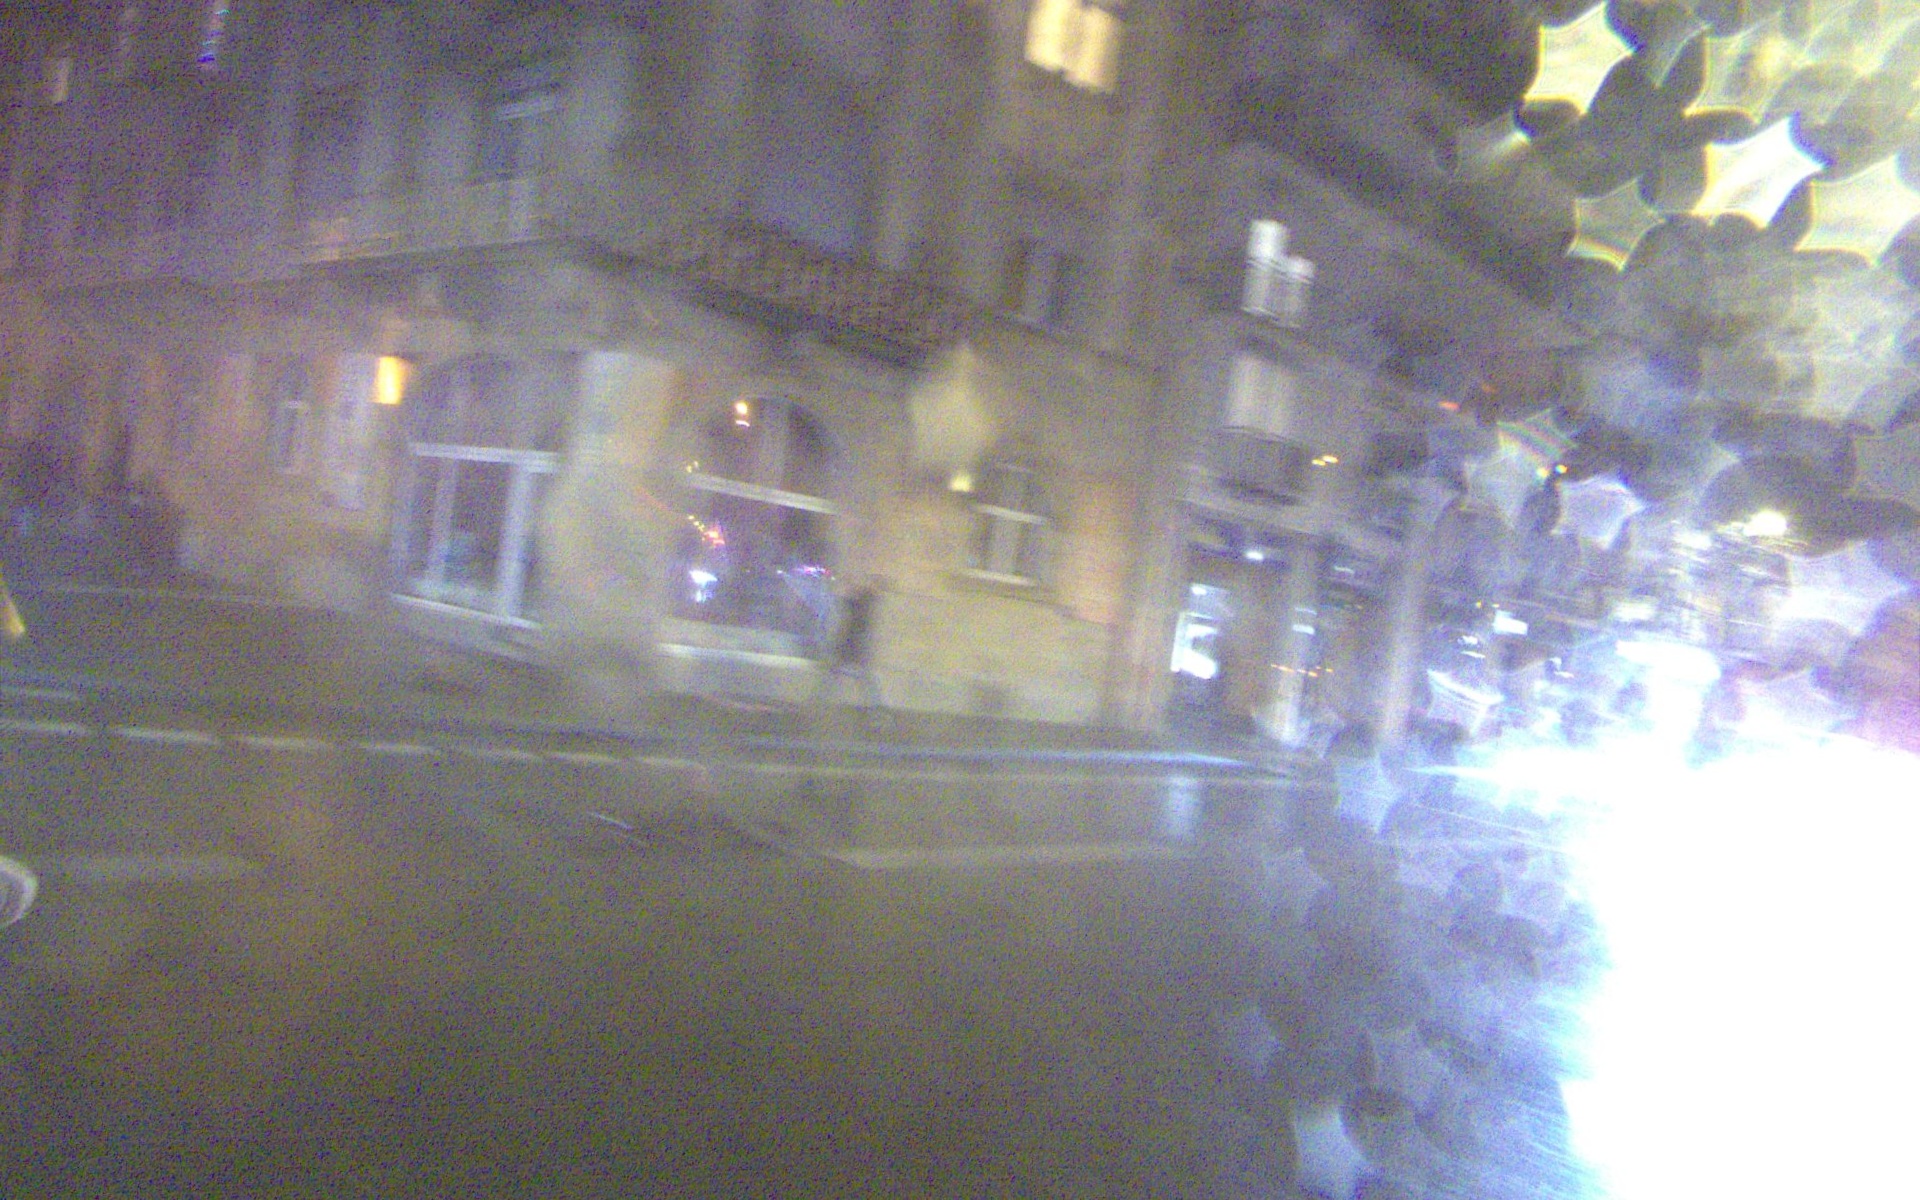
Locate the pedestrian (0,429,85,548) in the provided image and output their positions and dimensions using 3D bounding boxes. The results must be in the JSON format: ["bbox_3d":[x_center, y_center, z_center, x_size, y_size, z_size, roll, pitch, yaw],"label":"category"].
[{"bbox_3d":[-16.407,-1.971,17.835,0.983,1.905,0.958,9,2,32],"label":"pedestrian"}]

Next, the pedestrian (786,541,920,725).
[{"bbox_3d":[-1.334,0.401,12.387,0.969,2.040,1.004,7,5,-39],"label":"pedestrian"}]

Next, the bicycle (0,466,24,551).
[{"bbox_3d":[-15.167,-1.451,14.780,0.698,1.268,1.899,8,2,27],"label":"bicycle"}]

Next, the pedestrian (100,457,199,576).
[{"bbox_3d":[-12.419,-1.280,15.415,0.983,1.638,0.781,9,2,32],"label":"pedestrian"}]

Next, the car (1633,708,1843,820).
[{"bbox_3d":[15.009,3.164,19.325,4.552,1.598,1.902,9,0,-37],"label":"car"}]

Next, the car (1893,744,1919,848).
[{"bbox_3d":[17.178,3.427,16.674,3.767,1.598,1.725,9,0,-37],"label":"car"}]
